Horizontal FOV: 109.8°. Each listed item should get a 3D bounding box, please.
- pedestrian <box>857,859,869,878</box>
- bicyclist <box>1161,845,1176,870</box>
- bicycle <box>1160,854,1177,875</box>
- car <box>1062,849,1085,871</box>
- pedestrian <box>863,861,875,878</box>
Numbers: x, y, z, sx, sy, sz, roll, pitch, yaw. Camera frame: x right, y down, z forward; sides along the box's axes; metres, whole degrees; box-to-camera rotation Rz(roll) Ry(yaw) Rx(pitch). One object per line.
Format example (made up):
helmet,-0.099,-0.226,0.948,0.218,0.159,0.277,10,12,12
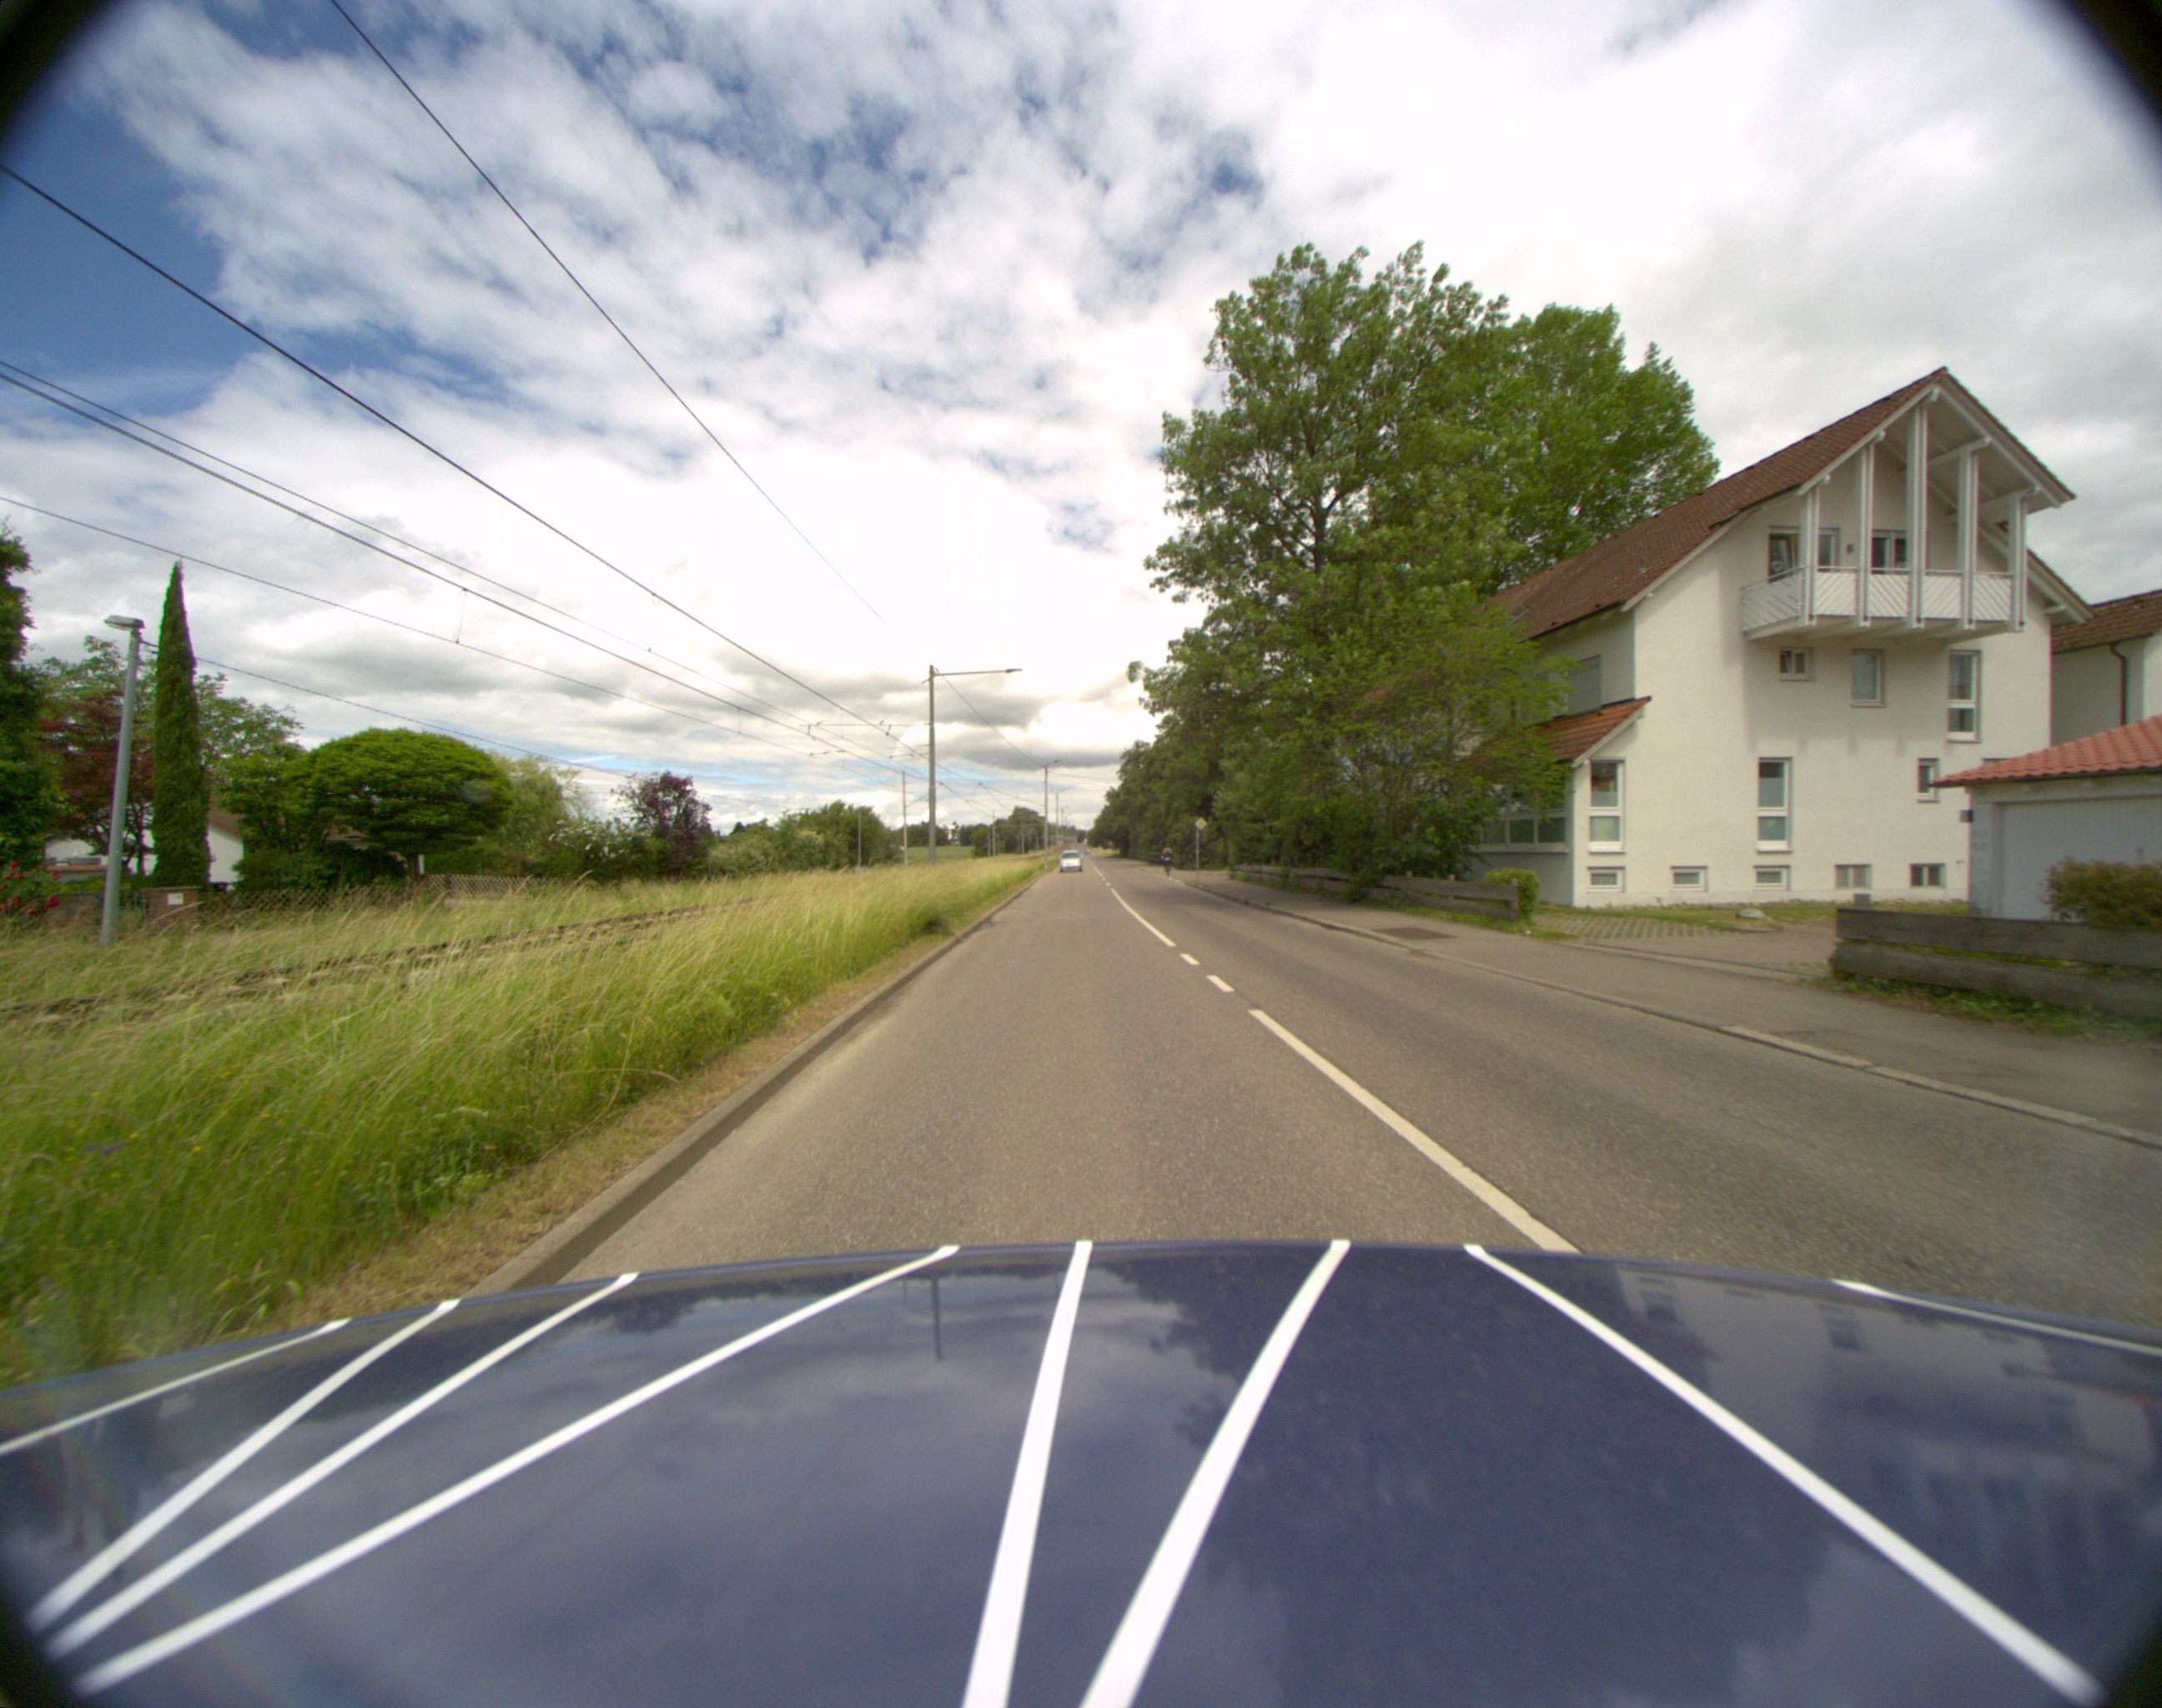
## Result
pedestrian,-19.003,1.301,66.212,0.617,1.613,0.585,-2,1,27
bicyclist,5.524,0.205,47.992,0.780,1.540,0.869,-1,1,0
bicycle,5.494,0.655,47.846,0.757,1.219,2.308,1,1,0
car,-0.528,0.443,58.485,1.643,1.510,3.868,-3,1,0
pedestrian,-18.389,1.361,65.878,0.598,1.422,0.667,-2,1,25
